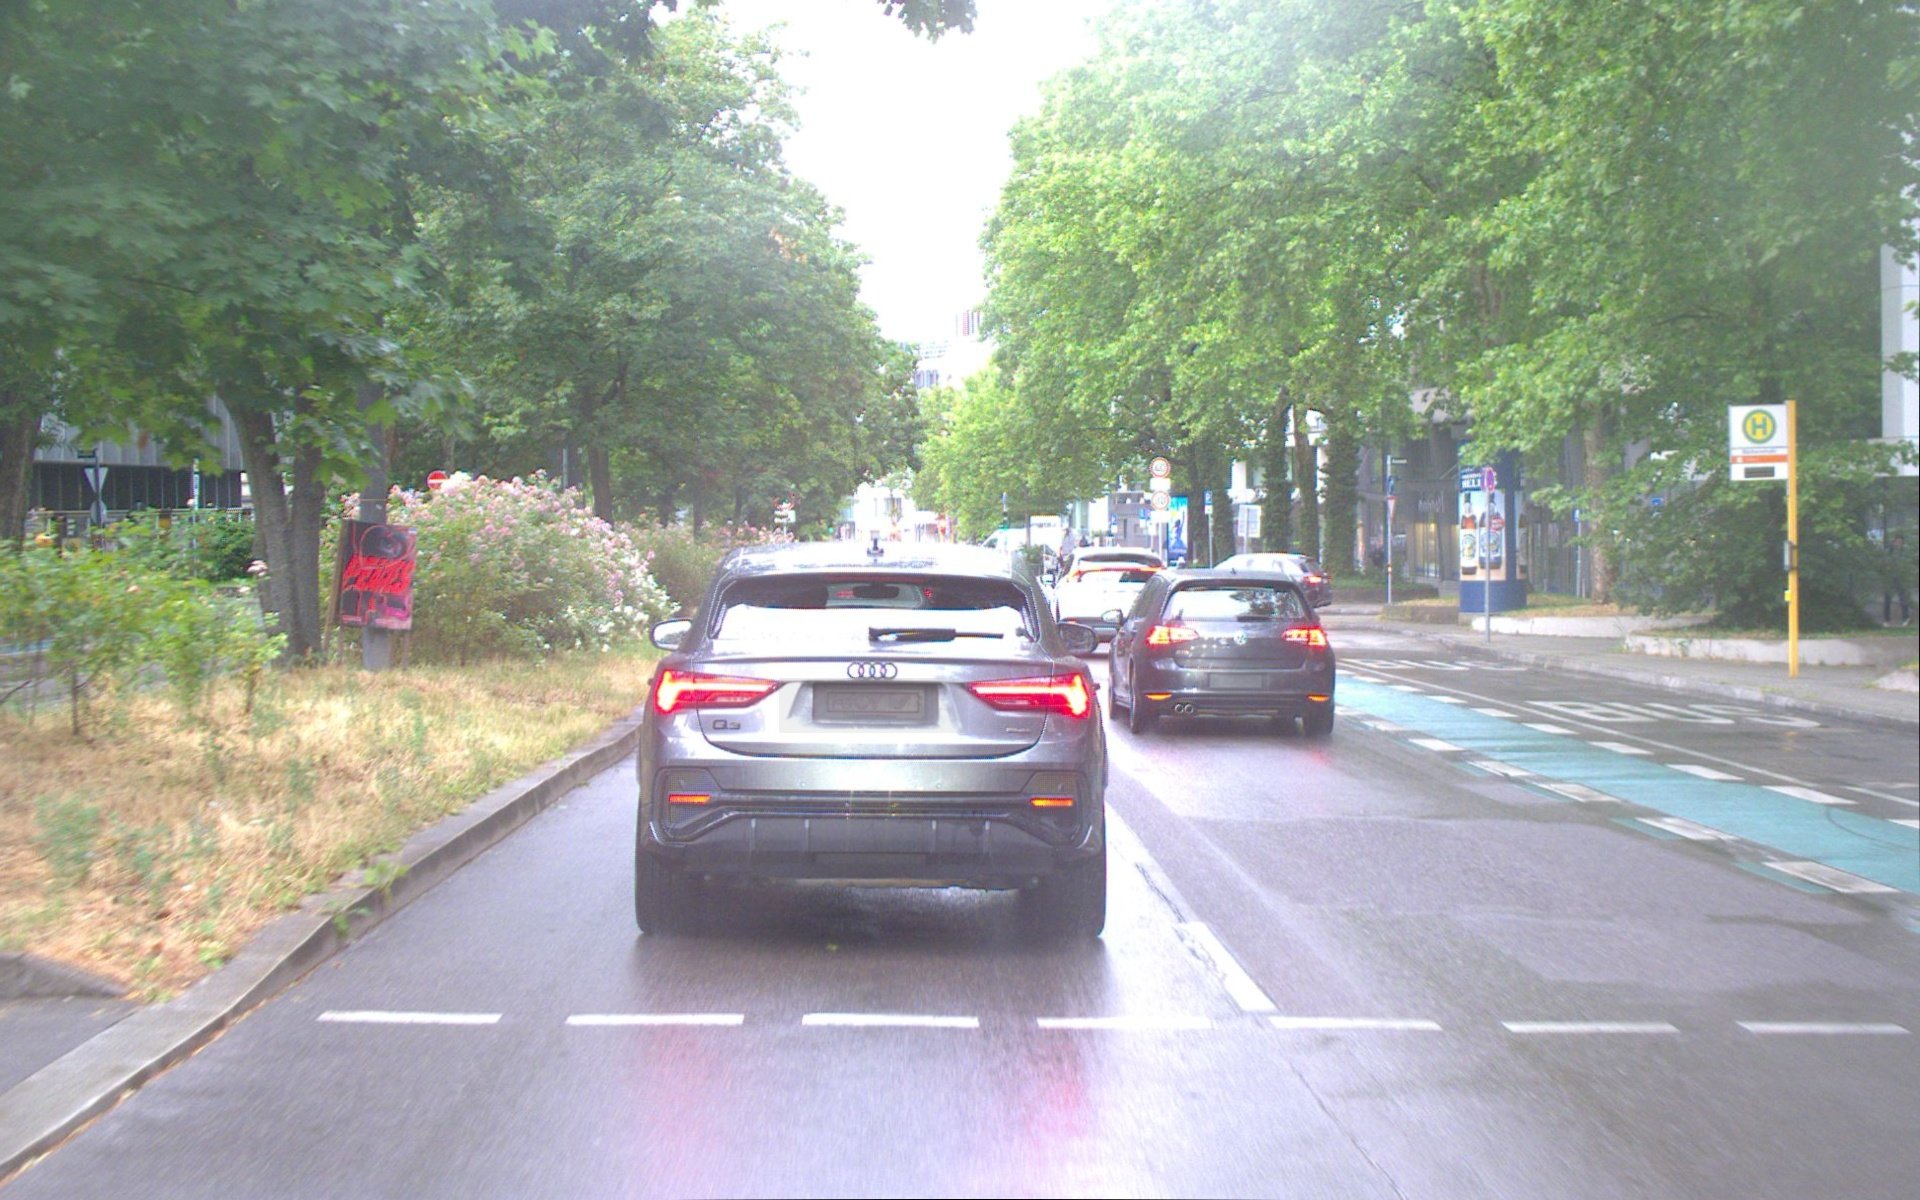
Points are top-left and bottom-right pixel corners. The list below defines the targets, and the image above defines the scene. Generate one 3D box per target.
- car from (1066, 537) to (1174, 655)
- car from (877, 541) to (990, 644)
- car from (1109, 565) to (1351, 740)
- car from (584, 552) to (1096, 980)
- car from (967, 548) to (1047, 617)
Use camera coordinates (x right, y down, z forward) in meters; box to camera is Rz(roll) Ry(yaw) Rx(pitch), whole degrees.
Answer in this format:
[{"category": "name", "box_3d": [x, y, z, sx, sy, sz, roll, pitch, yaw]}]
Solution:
[{"category": "car", "box_3d": [2.372, -0.086, 51.412, 1.433, 1.679, 2.979, -1, 1, -1]}, {"category": "car", "box_3d": [-0.446, -0.148, 54.668, 1.721, 1.572, 3.962, 0, 1, -1]}, {"category": "car", "box_3d": [2.364, 0.421, 30.957, 1.765, 1.408, 4.000, -1, 1, -1]}, {"category": "car", "box_3d": [-0.424, 0.573, 14.771, 1.863, 1.527, 4.527, 0, 1, 0]}, {"category": "car", "box_3d": [1.212, -0.475, 90.340, 1.993, 1.744, 4.000, 0, 1, -1]}]
